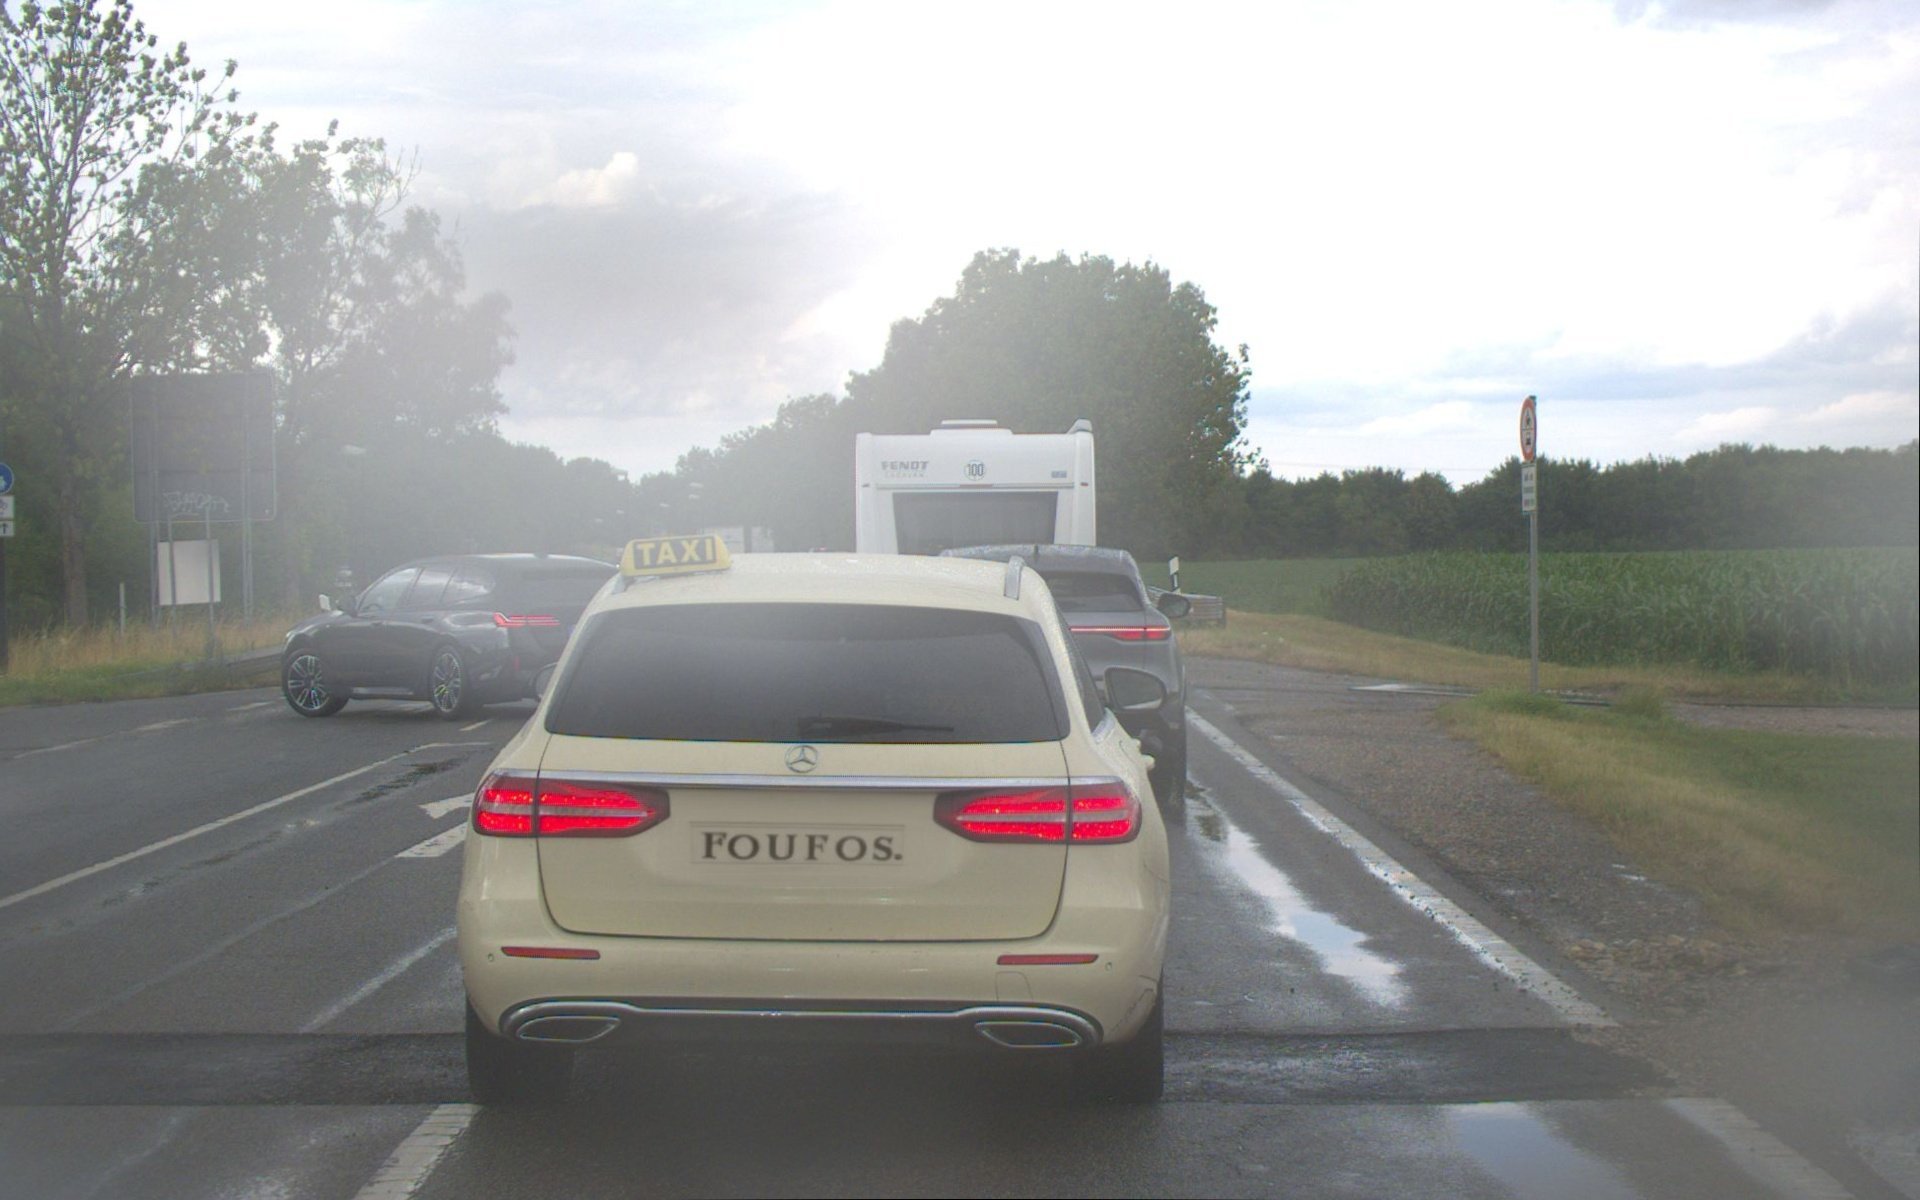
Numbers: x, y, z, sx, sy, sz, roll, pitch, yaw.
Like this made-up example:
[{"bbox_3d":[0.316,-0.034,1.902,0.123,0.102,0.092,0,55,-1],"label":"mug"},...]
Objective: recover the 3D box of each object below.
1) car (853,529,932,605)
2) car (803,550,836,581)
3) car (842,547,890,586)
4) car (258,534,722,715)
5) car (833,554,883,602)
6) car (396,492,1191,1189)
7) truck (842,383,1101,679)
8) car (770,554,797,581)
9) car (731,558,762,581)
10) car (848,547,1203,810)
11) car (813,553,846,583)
[{"bbox_3d":[-1.721,-0.837,86.709,1.915,1.834,3.796,-1,1,-1],"label":"car"},{"bbox_3d":[-8.668,-2.137,212.185,1.895,1.888,3.844,-1,1,-4],"label":"car"},{"bbox_3d":[-4.372,-1.576,159.573,1.993,1.766,4.001,-1,1,-4],"label":"car"},{"bbox_3d":[-4.483,0.183,32.199,2.302,1.542,4.631,1,1,-37],"label":"car"},{"bbox_3d":[-3.874,-0.864,131.284,1.791,1.771,3.721,-1,1,-1],"label":"car"},{"bbox_3d":[-0.410,0.536,10.000,1.842,1.612,4.000,0,1,-1],"label":"car"},{"bbox_3d":[0.064,-0.703,35.751,2.363,2.719,7.314,-1,1,-1],"label":"truck"},{"bbox_3d":[-12.533,-2.331,244.461,1.895,1.833,3.882,-1,1,-3],"label":"car"},{"bbox_3d":[-14.454,-2.071,232.902,1.828,1.568,4.000,1,1,0],"label":"car"},{"bbox_3d":[0.348,0.425,21.512,1.993,1.457,4.000,1,1,-1],"label":"car"},{"bbox_3d":[-7.622,-1.860,199.921,1.748,1.656,3.673,-1,1,-4],"label":"car"}]
